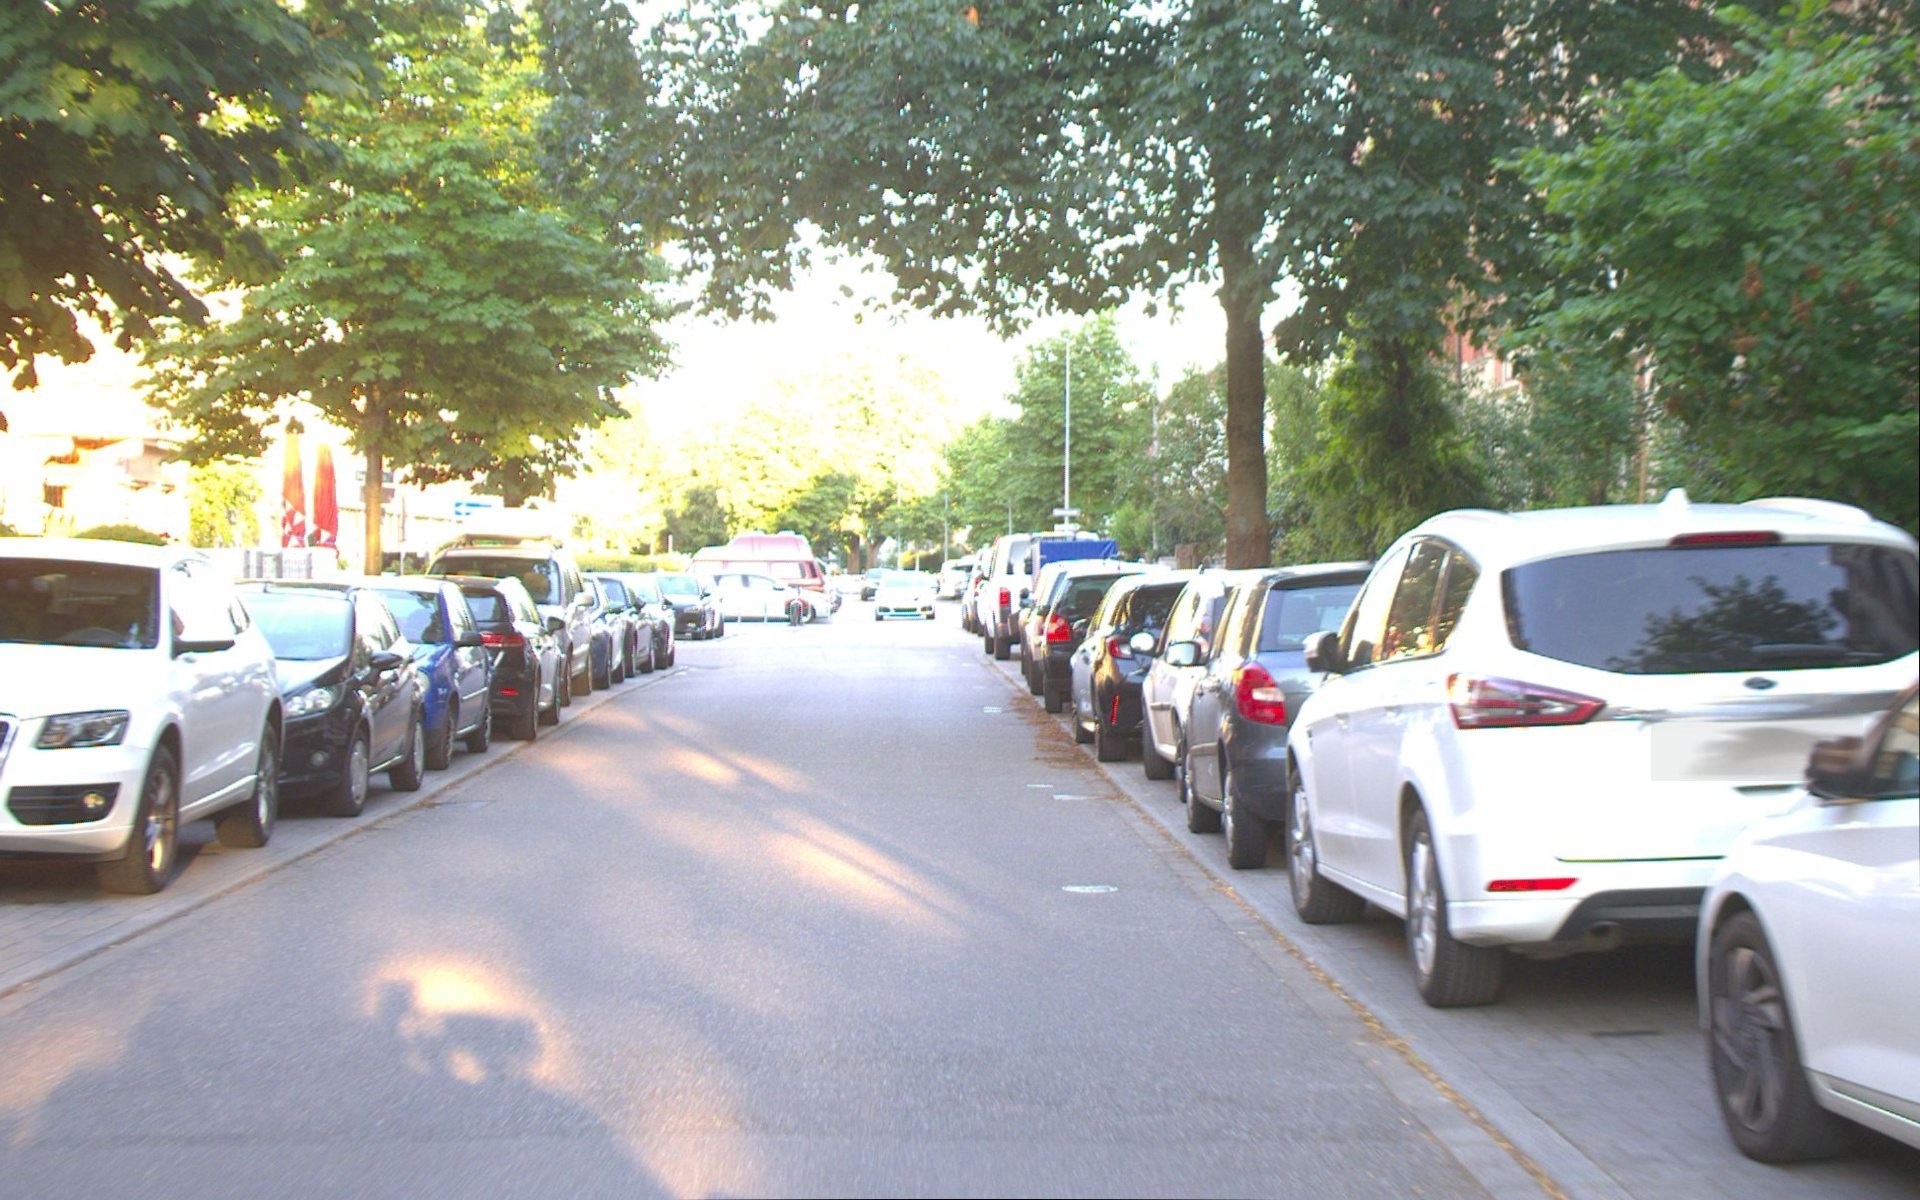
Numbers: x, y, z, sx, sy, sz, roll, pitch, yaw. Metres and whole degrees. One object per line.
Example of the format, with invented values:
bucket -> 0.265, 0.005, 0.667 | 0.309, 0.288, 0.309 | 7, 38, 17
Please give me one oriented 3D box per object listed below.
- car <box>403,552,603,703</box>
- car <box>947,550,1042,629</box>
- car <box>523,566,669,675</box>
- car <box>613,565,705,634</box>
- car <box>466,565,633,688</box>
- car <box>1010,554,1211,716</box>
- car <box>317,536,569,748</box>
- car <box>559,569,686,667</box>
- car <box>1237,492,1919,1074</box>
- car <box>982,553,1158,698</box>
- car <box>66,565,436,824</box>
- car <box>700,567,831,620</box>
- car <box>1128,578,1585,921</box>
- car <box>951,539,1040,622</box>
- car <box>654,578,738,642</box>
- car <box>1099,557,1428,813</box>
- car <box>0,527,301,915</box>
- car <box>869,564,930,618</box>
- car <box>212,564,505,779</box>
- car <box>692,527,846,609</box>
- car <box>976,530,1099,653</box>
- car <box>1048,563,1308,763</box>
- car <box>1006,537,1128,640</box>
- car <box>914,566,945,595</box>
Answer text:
car -> -5.041, 0.265, 38.408 | 1.715, 1.590, 4.519 | 0, 1, -1
car -> 0.696, -0.223, 71.878 | 1.686, 1.600, 3.940 | 0, 0, -4
car -> -5.026, 0.255, 47.854 | 1.715, 1.436, 3.631 | 0, 1, -1
car -> -6.592, -0.005, 75.590 | 1.716, 1.481, 3.630 | 0, 0, 0
car -> -5.137, 0.298, 43.438 | 1.715, 1.460, 3.987 | 0, 1, -1
car -> 1.517, 0.333, 35.865 | 1.686, 1.600, 3.940 | 0, 0, -4
car -> -4.597, 0.317, 31.089 | 1.715, 1.784, 4.216 | 0, 1, -1
car -> -5.212, 0.246, 53.427 | 1.599, 1.436, 3.838 | 0, 1, 0
car -> 2.239, 0.524, 12.500 | 1.798, 1.705, 4.601 | -1, 0, -4
car -> 1.227, 0.273, 39.984 | 1.686, 1.600, 3.940 | 0, 0, -4
car -> -4.570, 0.568, 22.649 | 1.715, 1.561, 3.781 | 0, 0, -1
car -> -5.443, -0.180, 95.858 | 3.618, 1.456, 1.607 | 0, 1, -4
car -> 1.965, 0.687, 18.214 | 1.686, 1.600, 4.210 | 0, 0, -4
car -> 0.766, -0.436, 76.734 | 1.686, 1.805, 3.940 | 0, 0, -4
car -> -6.218, 0.224, 81.216 | 1.716, 1.436, 3.631 | 0, 1, 0
car -> 1.980, 0.519, 23.405 | 1.686, 1.600, 3.749 | 0, 0, -4
car -> -4.671, 0.495, 17.342 | 1.921, 1.711, 4.428 | 0, 1, -1
car -> -1.850, -0.276, 104.331 | 1.813, 1.590, 3.483 | 0, 1, -1
car -> -4.680, 0.507, 27.215 | 1.715, 1.561, 3.788 | 0, 1, -1
car -> -5.449, -0.928, 98.424 | 4.349, 2.310, 1.746 | 0, 1, -2
car -> 1.228, -0.143, 56.107 | 1.680, 1.934, 3.881 | 0, 0, -4
car -> 1.682, 0.457, 27.777 | 1.686, 1.436, 4.210 | -2, 0, -1
car -> 1.603, -0.172, 52.338 | 1.538, 1.516, 3.432 | 0, 0, -4
car -> -1.723, -1.115, 195.416 | 1.715, 1.590, 3.483 | 0, 1, -1
